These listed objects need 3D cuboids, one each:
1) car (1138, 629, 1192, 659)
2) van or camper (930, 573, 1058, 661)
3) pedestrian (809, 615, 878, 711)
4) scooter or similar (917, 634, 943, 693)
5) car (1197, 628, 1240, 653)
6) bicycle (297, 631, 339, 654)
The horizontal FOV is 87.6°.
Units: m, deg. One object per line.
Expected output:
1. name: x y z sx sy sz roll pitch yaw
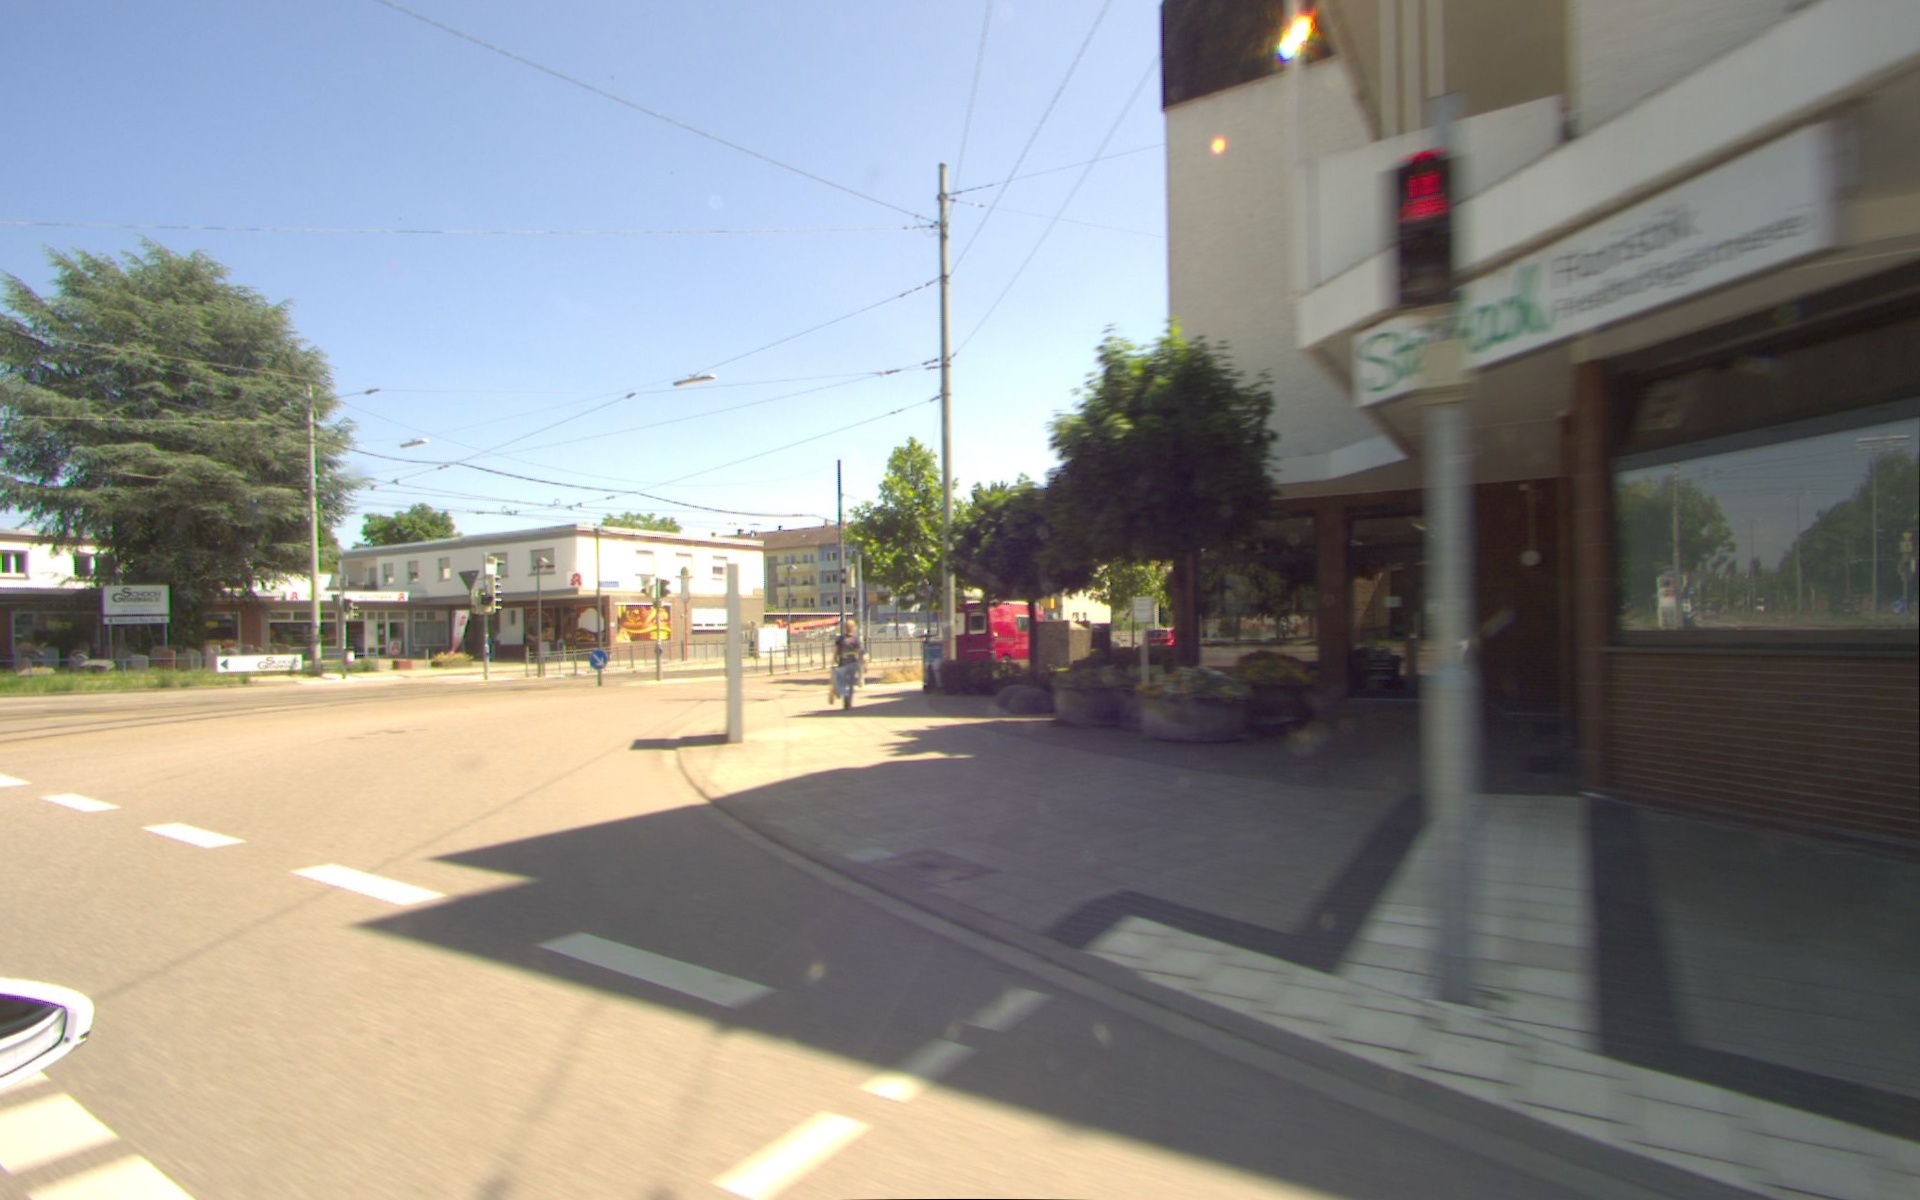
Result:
1. car: 9.882 2.091 48.227 1.431 1.399 3.345 -1 -2 33
2. van or camper: 1.278 0.602 34.622 2.176 2.801 5.216 -1 -1 31
3. pedestrian: -2.074 1.102 17.807 0.817 1.605 0.821 -1 2 44
4. scooter or similar: -0.645 1.343 21.603 0.387 1.228 1.256 -1 -1 6
5. car: 14.805 2.298 57.290 1.431 1.371 3.345 -1 -2 33
6. bicycle: -35.526 2.351 55.405 0.592 1.206 1.861 -3 -4 43
